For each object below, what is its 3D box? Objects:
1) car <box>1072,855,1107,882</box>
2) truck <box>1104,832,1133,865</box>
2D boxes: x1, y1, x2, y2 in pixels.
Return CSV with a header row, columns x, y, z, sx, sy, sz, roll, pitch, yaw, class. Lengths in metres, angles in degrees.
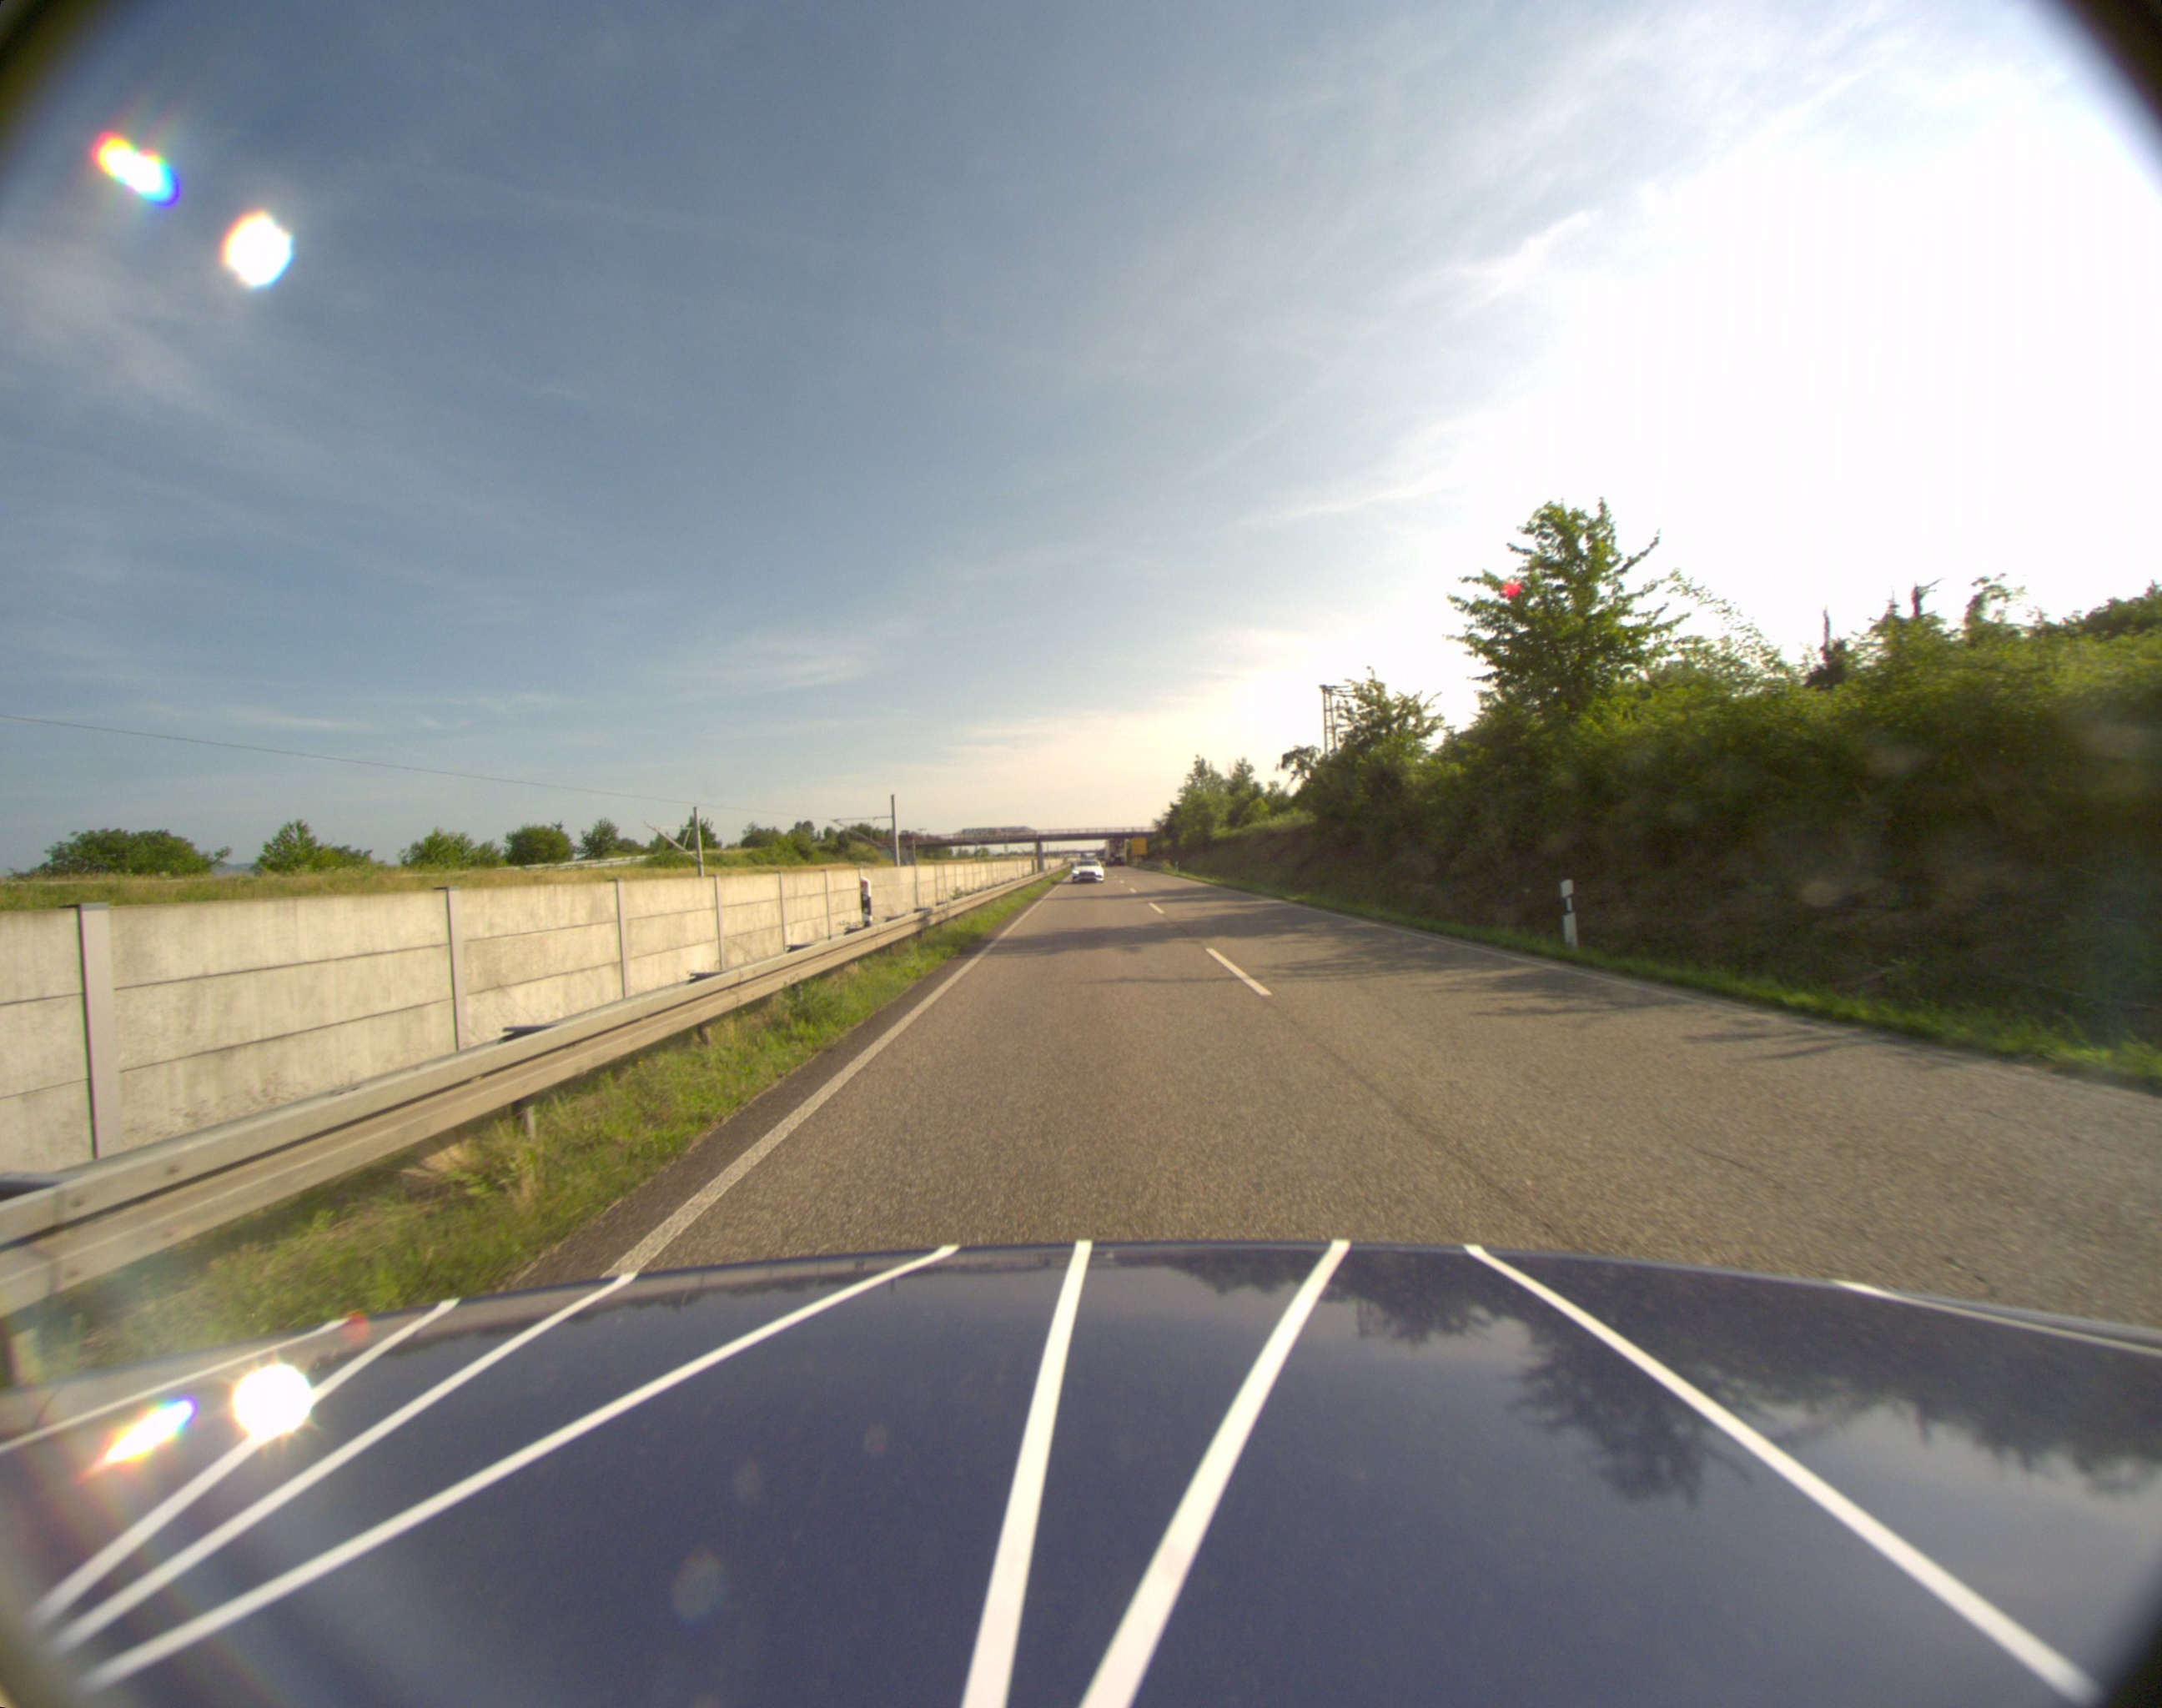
x,y,z,sx,sy,sz,roll,pitch,yaw,class
0.534,0.862,46.419,1.952,1.430,4.611,-2,0,1,car
5.707,-0.819,119.599,3.792,4.617,19.837,-2,0,1,truck
